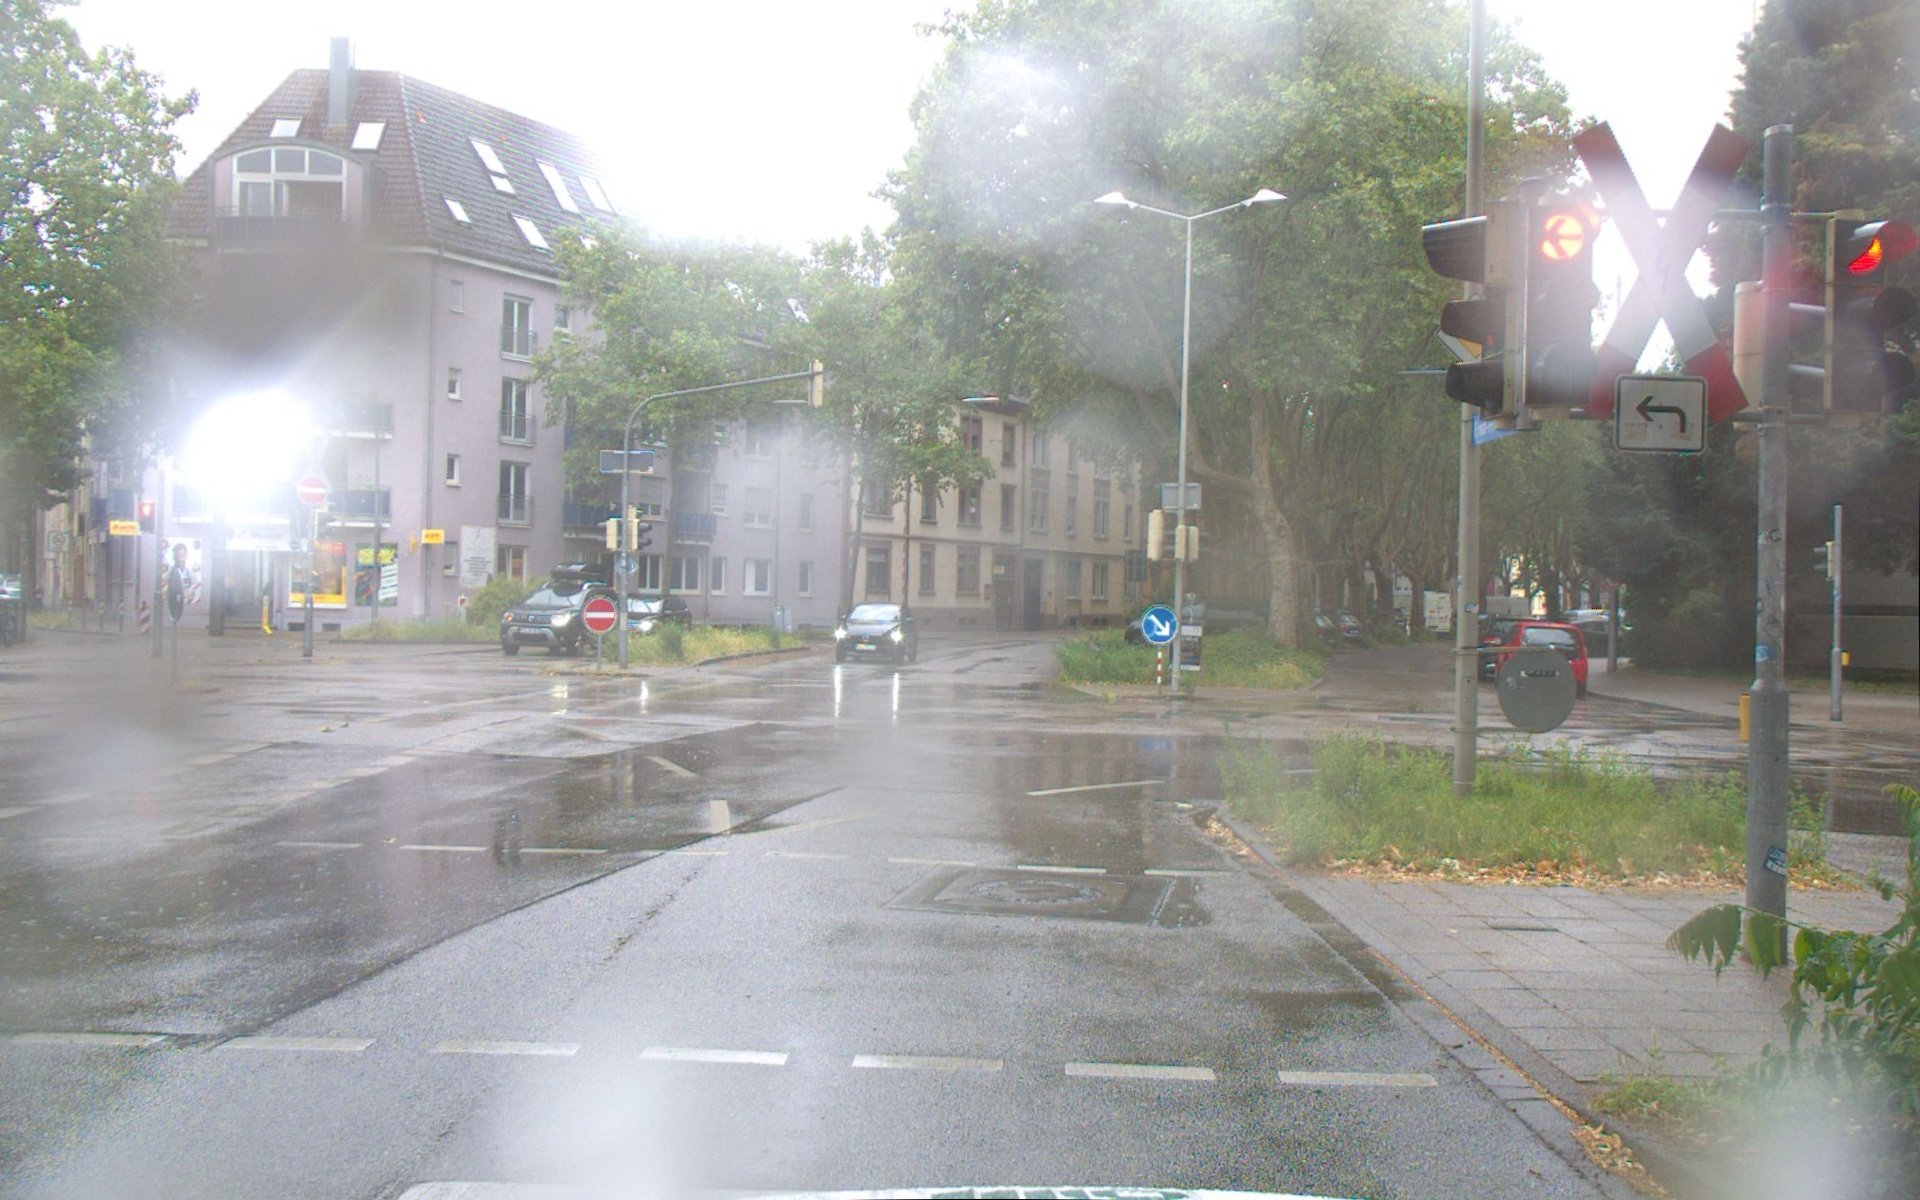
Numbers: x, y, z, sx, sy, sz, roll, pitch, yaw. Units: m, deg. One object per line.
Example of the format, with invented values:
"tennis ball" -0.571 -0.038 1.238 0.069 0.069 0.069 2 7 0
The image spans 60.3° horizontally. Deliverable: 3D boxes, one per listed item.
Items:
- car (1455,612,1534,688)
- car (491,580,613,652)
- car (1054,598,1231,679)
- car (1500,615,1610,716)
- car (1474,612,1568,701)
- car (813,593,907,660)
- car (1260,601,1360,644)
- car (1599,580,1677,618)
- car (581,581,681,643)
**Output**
"car" 15.472 1.412 48.034 1.951 2.049 4.003 0 0 15
"car" -9.463 0.340 38.624 1.688 1.579 3.562 0 0 5
"car" 3.657 0.759 33.047 3.405 1.550 1.521 0 0 8
"car" 13.084 1.385 36.571 1.951 2.049 4.003 0 0 15
"car" 13.919 1.348 41.220 1.951 2.049 4.003 0 0 15
"car" -2.463 0.631 41.502 1.568 1.579 3.563 0 0 10
"car" 13.856 0.877 65.459 3.537 1.646 1.679 0 0 28
"car" 37.847 -0.051 92.467 3.903 2.049 1.708 0 0 19
"car" -8.808 0.297 44.545 1.688 1.579 3.562 0 0 5
